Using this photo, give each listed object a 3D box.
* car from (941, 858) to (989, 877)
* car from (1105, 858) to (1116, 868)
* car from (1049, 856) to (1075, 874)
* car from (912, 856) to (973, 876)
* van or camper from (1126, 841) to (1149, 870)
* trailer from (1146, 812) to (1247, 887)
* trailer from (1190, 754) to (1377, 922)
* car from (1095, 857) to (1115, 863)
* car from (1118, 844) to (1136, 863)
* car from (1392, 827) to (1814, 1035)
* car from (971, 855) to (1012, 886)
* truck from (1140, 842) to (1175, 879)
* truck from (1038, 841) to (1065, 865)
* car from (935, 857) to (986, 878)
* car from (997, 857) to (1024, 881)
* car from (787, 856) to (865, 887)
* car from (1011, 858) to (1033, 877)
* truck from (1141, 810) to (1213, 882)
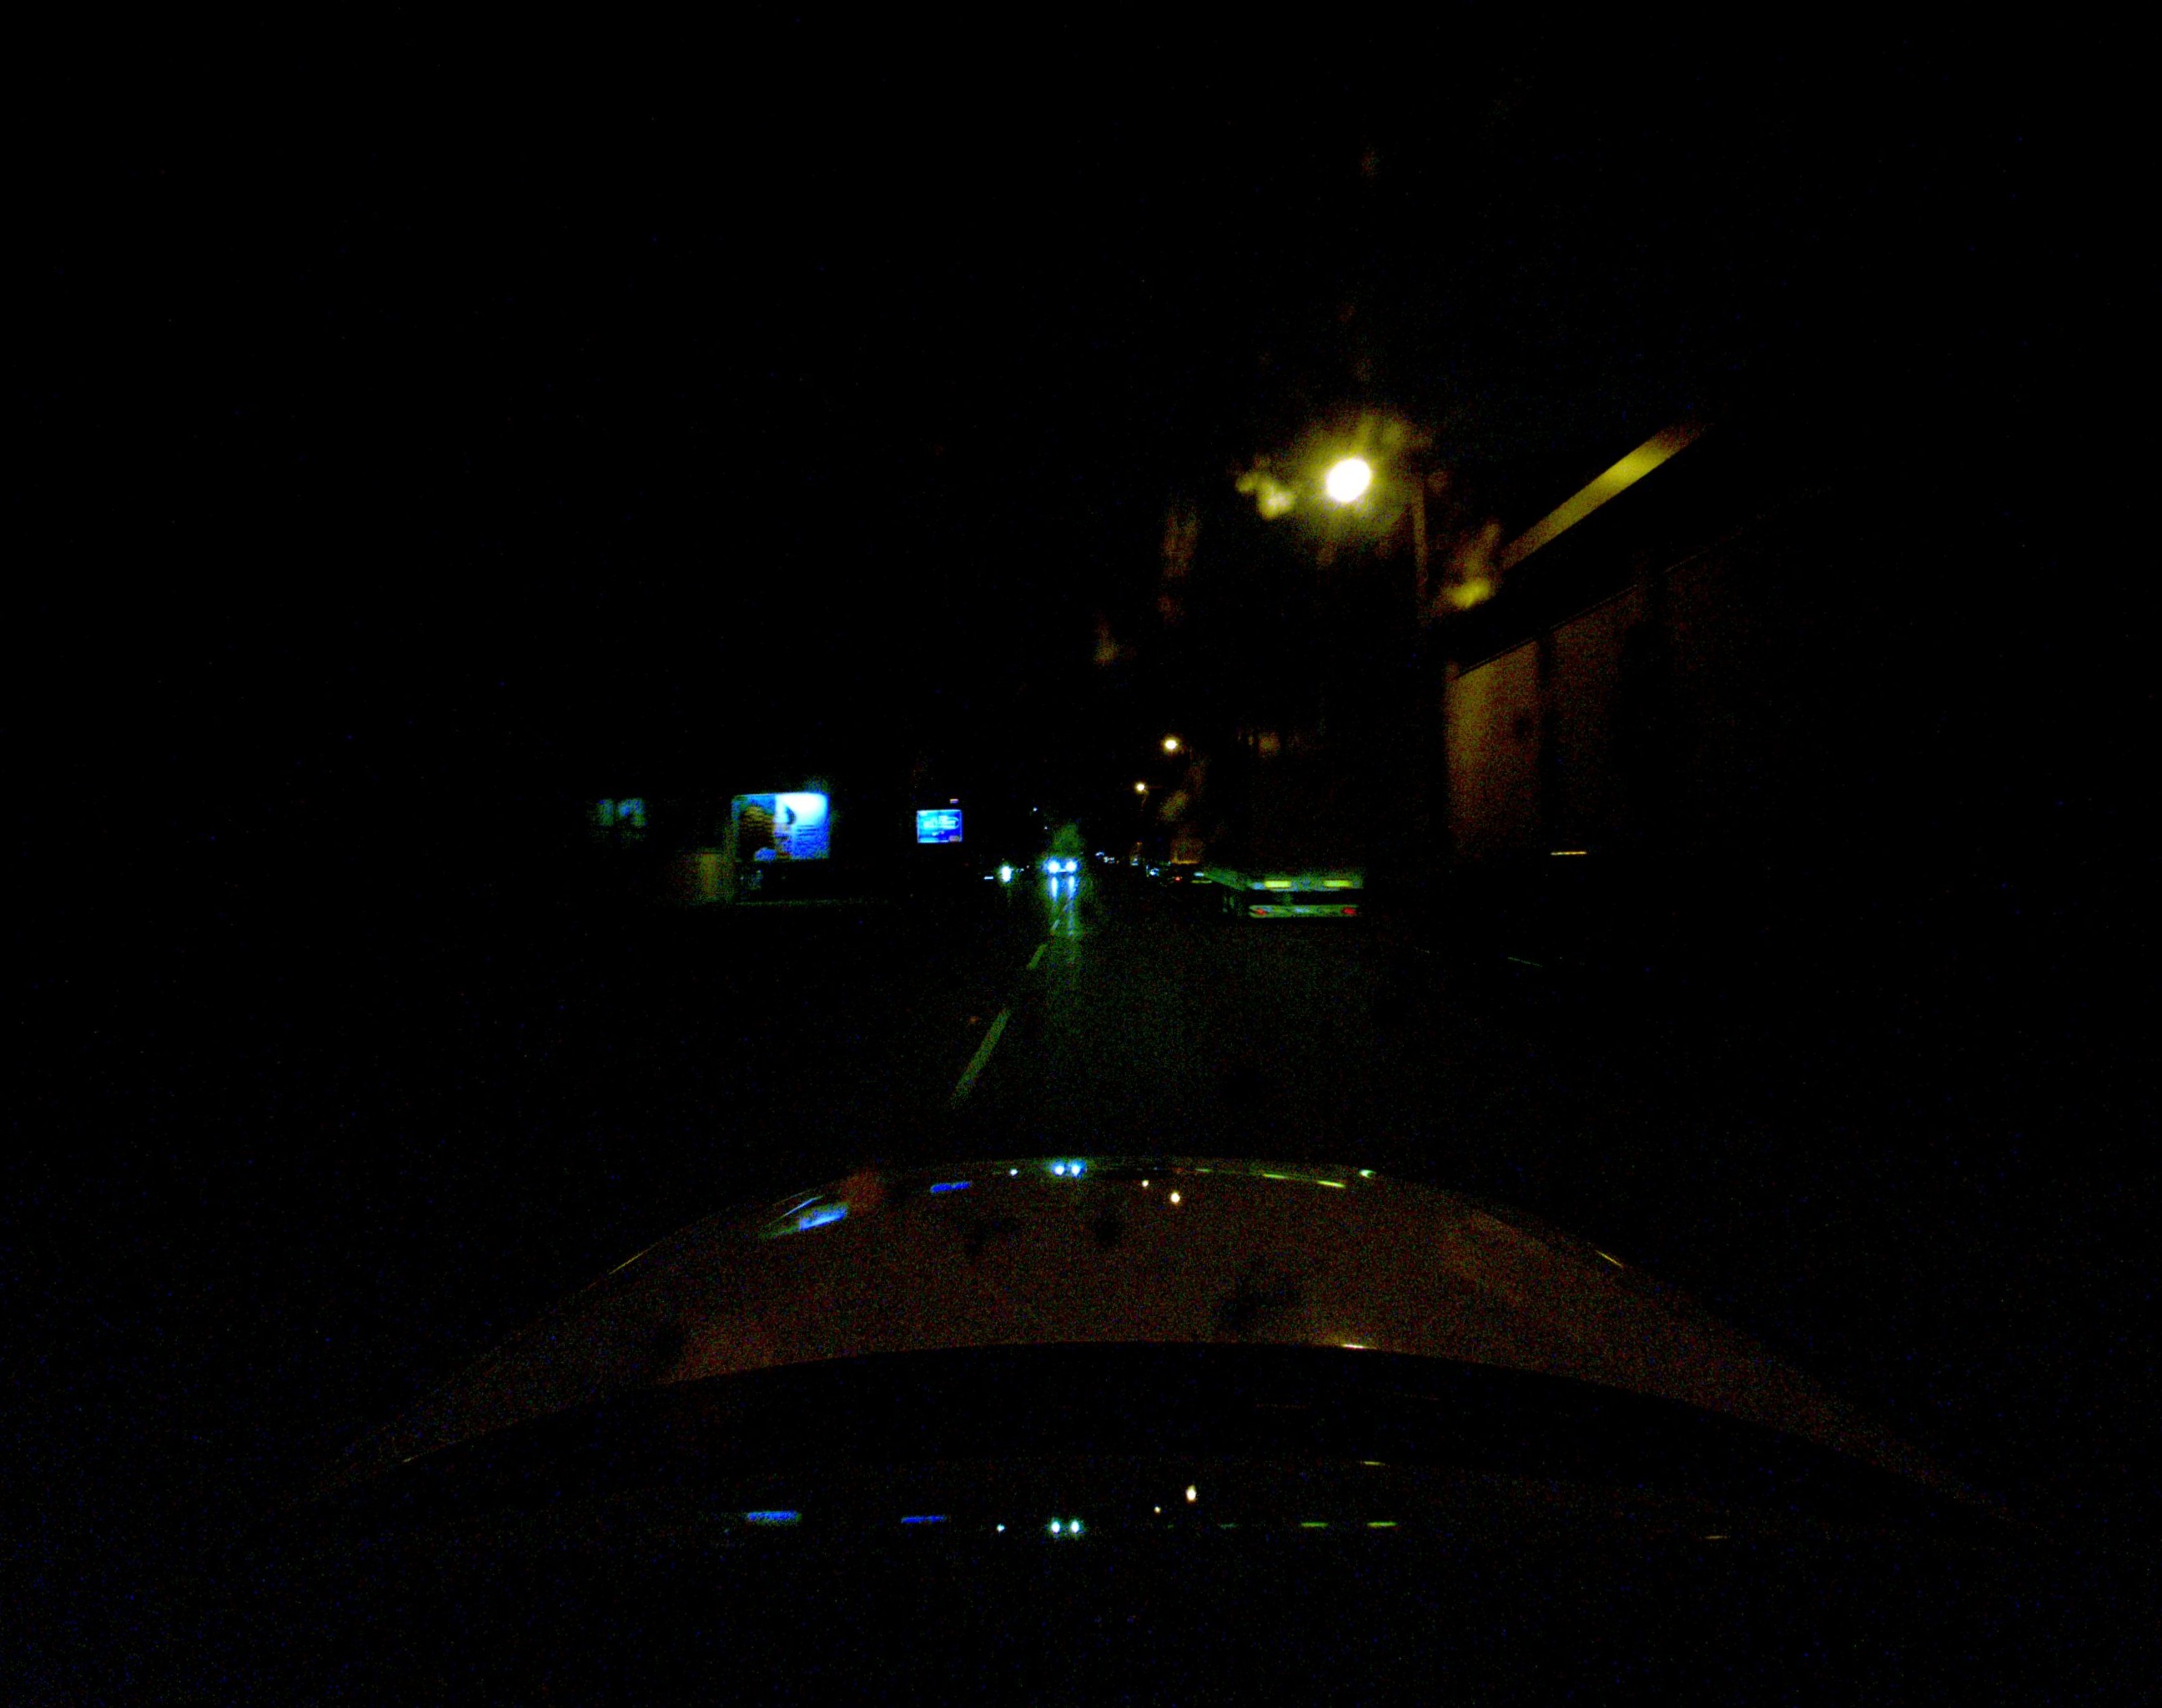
[{"bbox_3d":[-10.884,1.253,76.170,4.007,1.595,1.983,-3,-1,-25],"label":"car"},{"bbox_3d":[5.345,1.627,149.096,1.986,1.684,4.001,-2,0,1],"label":"car"},{"bbox_3d":[-1.538,0.895,67.973,1.986,1.398,4.001,-2,0,1],"label":"car"},{"bbox_3d":[-11.499,0.987,67.672,4.631,1.485,1.986,-2,0,-22],"label":"car"},{"bbox_3d":[5.386,0.145,78.261,1.986,2.581,4.917,-2,0,2],"label":"van or camper"},{"bbox_3d":[4.958,-0.099,37.282,3.173,2.749,10.717,-3,-1,1],"label":"trailer"},{"bbox_3d":[4.761,-0.282,20.958,2.679,3.464,7.804,-1,-1,-1],"label":"trailer"},{"bbox_3d":[5.734,1.418,193.640,4.510,1.380,2.002,-2,-1,4],"label":"car"},{"bbox_3d":[5.559,-0.021,98.737,1.986,2.145,4.001,-2,0,1],"label":"car"},{"bbox_3d":[4.785,0.626,8.250,1.846,1.519,3.819,-3,-1,2],"label":"car"},{"bbox_3d":[-5.595,1.001,51.226,1.986,1.794,4.001,-2,0,1],"label":"car"},{"bbox_3d":[5.244,0.451,56.588,1.986,2.407,5.294,-2,0,1],"label":"truck"},{"bbox_3d":[-4.676,-0.164,128.406,3.883,3.621,8.247,-2,0,-4],"label":"truck"},{"bbox_3d":[-10.838,1.204,73.210,4.007,1.595,1.983,-3,-1,-25],"label":"car"},{"bbox_3d":[-5.309,1.138,62.020,1.673,1.736,4.354,-2,0,-1],"label":"car"},{"bbox_3d":[-15.144,1.023,48.543,3.976,1.651,1.999,-2,0,-2],"label":"car"},{"bbox_3d":[-5.589,1.262,77.089,1.893,1.736,4.351,-2,0,-3],"label":"car"},{"bbox_3d":[5.094,-0.361,44.429,3.140,3.463,6.674,-3,-1,1],"label":"truck"}]
